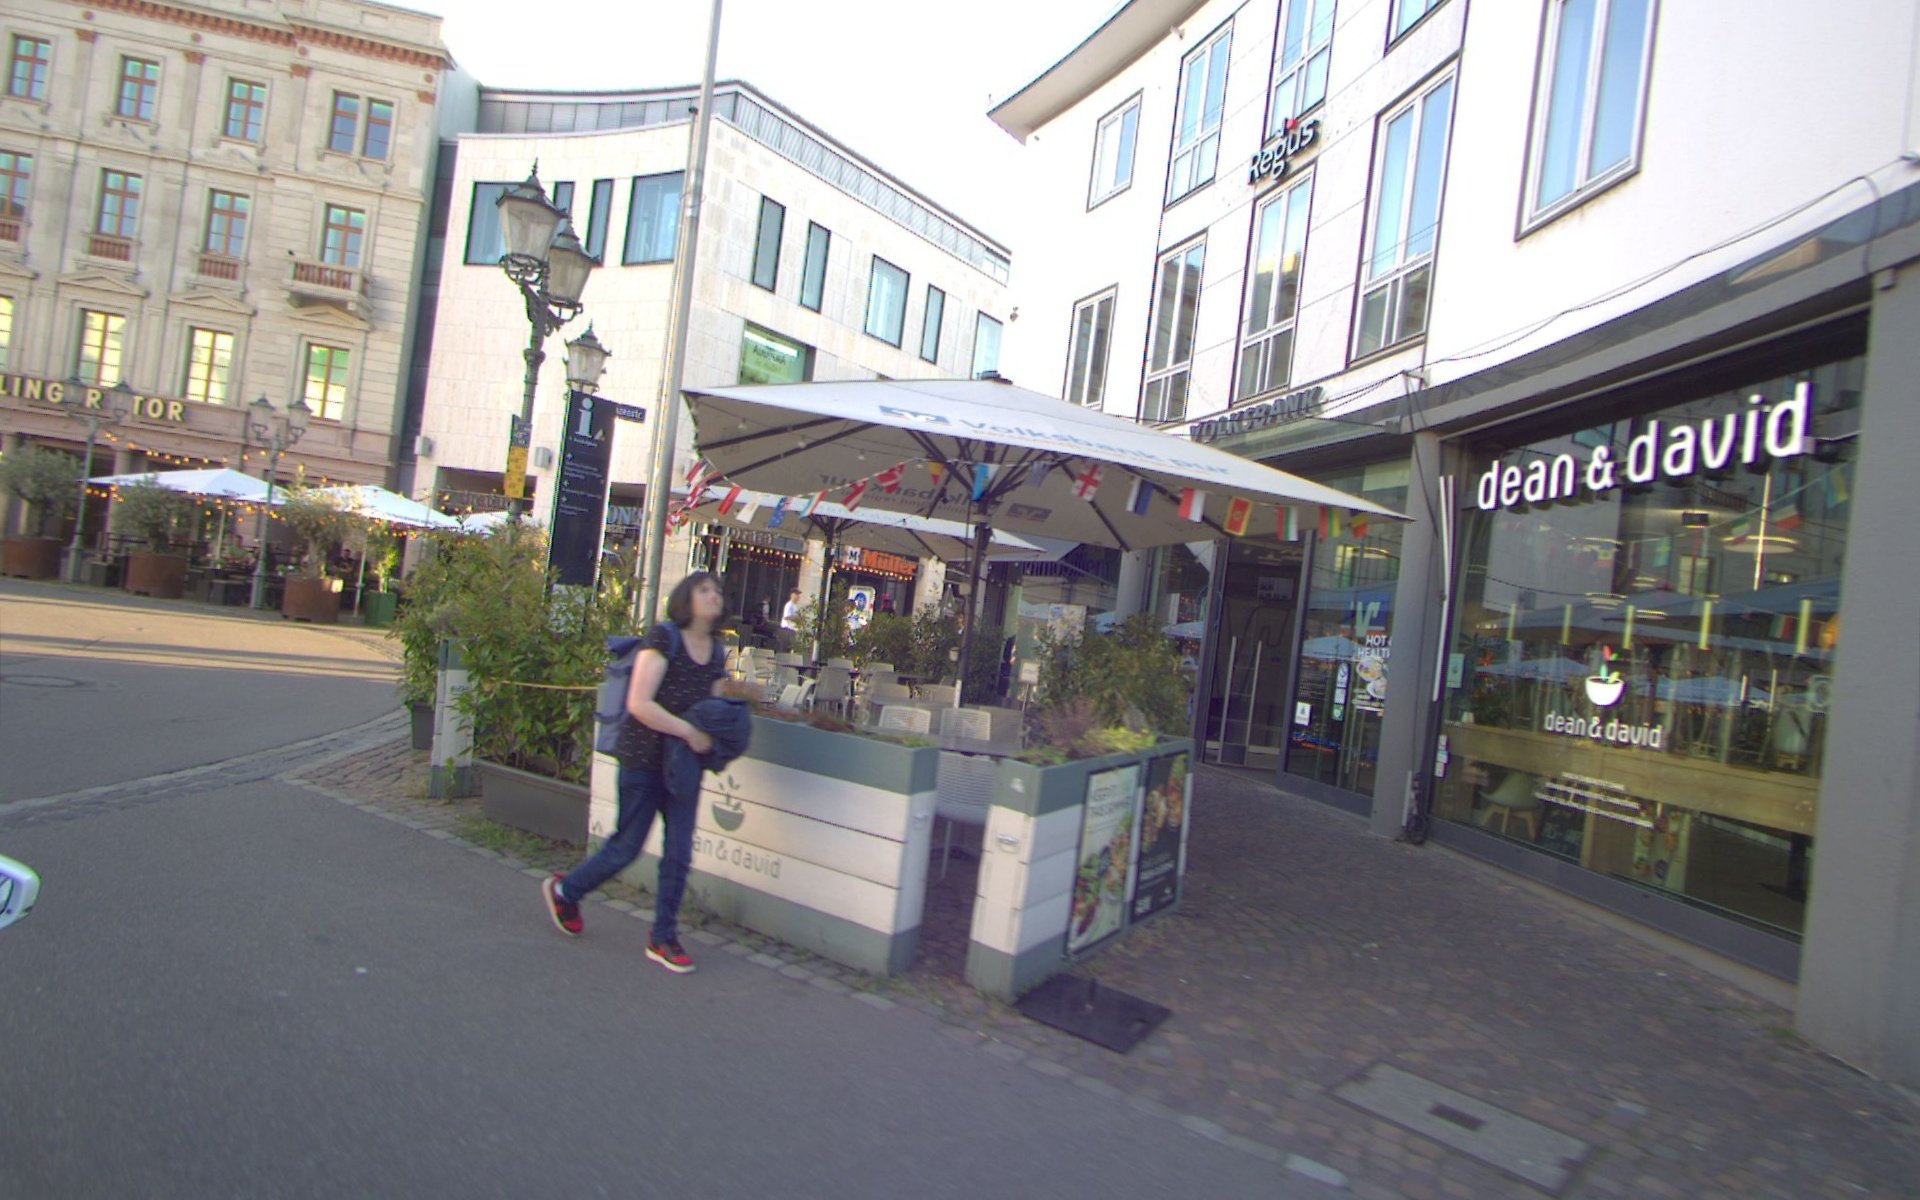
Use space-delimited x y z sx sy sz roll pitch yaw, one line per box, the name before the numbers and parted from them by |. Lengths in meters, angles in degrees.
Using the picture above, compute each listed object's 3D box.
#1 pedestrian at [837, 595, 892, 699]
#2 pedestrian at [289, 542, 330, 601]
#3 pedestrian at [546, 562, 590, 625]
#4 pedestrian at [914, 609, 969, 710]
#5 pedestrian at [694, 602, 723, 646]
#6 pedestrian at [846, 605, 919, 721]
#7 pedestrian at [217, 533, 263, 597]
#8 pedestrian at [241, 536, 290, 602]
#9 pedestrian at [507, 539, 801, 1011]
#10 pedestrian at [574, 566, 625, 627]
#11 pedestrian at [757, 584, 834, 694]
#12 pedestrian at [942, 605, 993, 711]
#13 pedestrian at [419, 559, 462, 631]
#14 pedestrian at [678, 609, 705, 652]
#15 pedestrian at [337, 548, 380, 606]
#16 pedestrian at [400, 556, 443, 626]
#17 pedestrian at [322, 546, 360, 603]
pedestrian | -1.876 0.907 19.709 0.676 1.919 0.870 7 0 -17
pedestrian | -17.740 -0.781 27.439 0.614 1.496 0.591 7 0 31
pedestrian | -11.061 -0.176 28.409 0.681 1.667 0.694 7 0 31
pedestrian | -0.324 1.063 17.910 0.594 1.710 0.499 7 0 37
pedestrian | -7.134 0.673 28.542 0.463 1.169 0.498 7 0 29
pedestrian | -1.253 1.017 16.413 0.800 1.751 0.760 7 0 12
pedestrian | -17.934 -0.869 25.074 0.612 1.496 0.545 7 0 21
pedestrian | -17.048 -0.764 24.697 0.671 1.496 0.589 7 0 23
pedestrian | -1.219 0.654 4.108 0.682 1.667 0.692 7 0 19
pedestrian | -10.825 -0.101 30.235 0.853 1.667 0.930 7 0 32
pedestrian | -3.189 0.742 19.493 1.014 1.955 1.004 8 0 -25
pedestrian | 0.135 1.063 18.422 0.554 1.876 0.459 7 0 35
pedestrian | -11.527 -0.108 22.334 0.554 1.496 0.528 7 0 40
pedestrian | -7.444 0.832 27.909 0.542 1.124 0.536 7 0 -7
pedestrian | -16.563 -0.620 27.717 0.612 1.496 0.625 7 0 10
pedestrian | -12.201 -0.198 22.796 0.554 1.496 0.528 7 0 39
pedestrian | -17.407 -0.715 28.286 0.614 1.496 0.544 7 0 31
